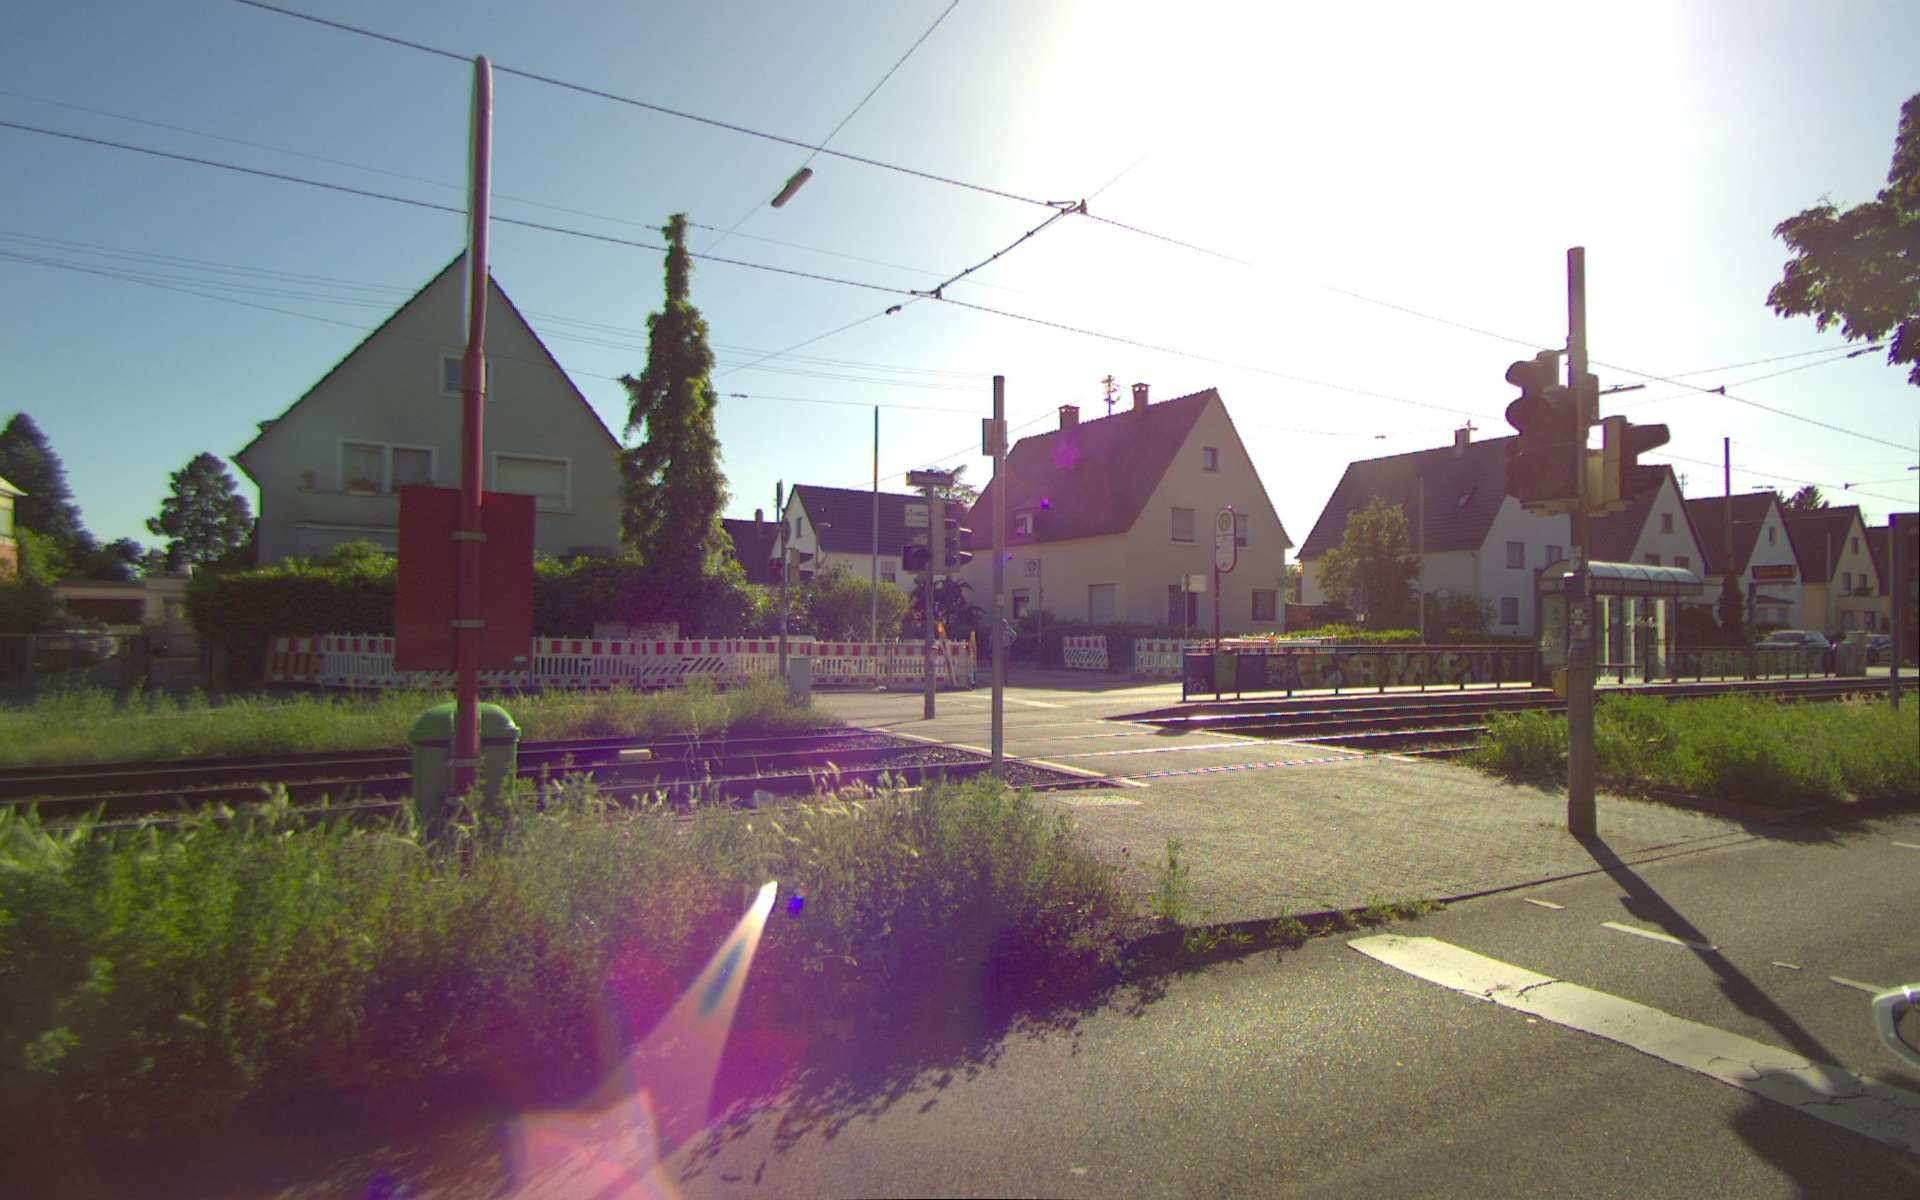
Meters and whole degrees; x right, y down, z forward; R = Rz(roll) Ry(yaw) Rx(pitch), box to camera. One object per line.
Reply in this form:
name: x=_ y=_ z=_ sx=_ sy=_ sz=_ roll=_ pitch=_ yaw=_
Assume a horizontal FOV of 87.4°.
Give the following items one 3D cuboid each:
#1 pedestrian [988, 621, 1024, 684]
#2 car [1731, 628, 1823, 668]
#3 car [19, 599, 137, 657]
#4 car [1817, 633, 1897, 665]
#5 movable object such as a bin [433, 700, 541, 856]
pedestrian: x=1.182 y=1.335 z=25.809 sx=0.798 sy=1.555 sz=0.793 roll=-1 pitch=0 yaw=-6
car: x=38.374 y=2.249 z=47.166 sx=4.340 sy=1.736 sz=1.984 roll=2 pitch=-1 yaw=-30
car: x=-26.965 y=0.836 z=30.846 sx=1.977 sy=1.639 sz=3.966 roll=2 pitch=-1 yaw=-31
car: x=46.493 y=2.532 z=52.068 sx=4.206 sy=1.515 sz=1.917 roll=2 pitch=-1 yaw=-30
movable object such as a bin: x=-2.008 y=0.741 z=4.295 sx=0.373 sy=0.590 sz=0.386 roll=2 pitch=0 yaw=-21
